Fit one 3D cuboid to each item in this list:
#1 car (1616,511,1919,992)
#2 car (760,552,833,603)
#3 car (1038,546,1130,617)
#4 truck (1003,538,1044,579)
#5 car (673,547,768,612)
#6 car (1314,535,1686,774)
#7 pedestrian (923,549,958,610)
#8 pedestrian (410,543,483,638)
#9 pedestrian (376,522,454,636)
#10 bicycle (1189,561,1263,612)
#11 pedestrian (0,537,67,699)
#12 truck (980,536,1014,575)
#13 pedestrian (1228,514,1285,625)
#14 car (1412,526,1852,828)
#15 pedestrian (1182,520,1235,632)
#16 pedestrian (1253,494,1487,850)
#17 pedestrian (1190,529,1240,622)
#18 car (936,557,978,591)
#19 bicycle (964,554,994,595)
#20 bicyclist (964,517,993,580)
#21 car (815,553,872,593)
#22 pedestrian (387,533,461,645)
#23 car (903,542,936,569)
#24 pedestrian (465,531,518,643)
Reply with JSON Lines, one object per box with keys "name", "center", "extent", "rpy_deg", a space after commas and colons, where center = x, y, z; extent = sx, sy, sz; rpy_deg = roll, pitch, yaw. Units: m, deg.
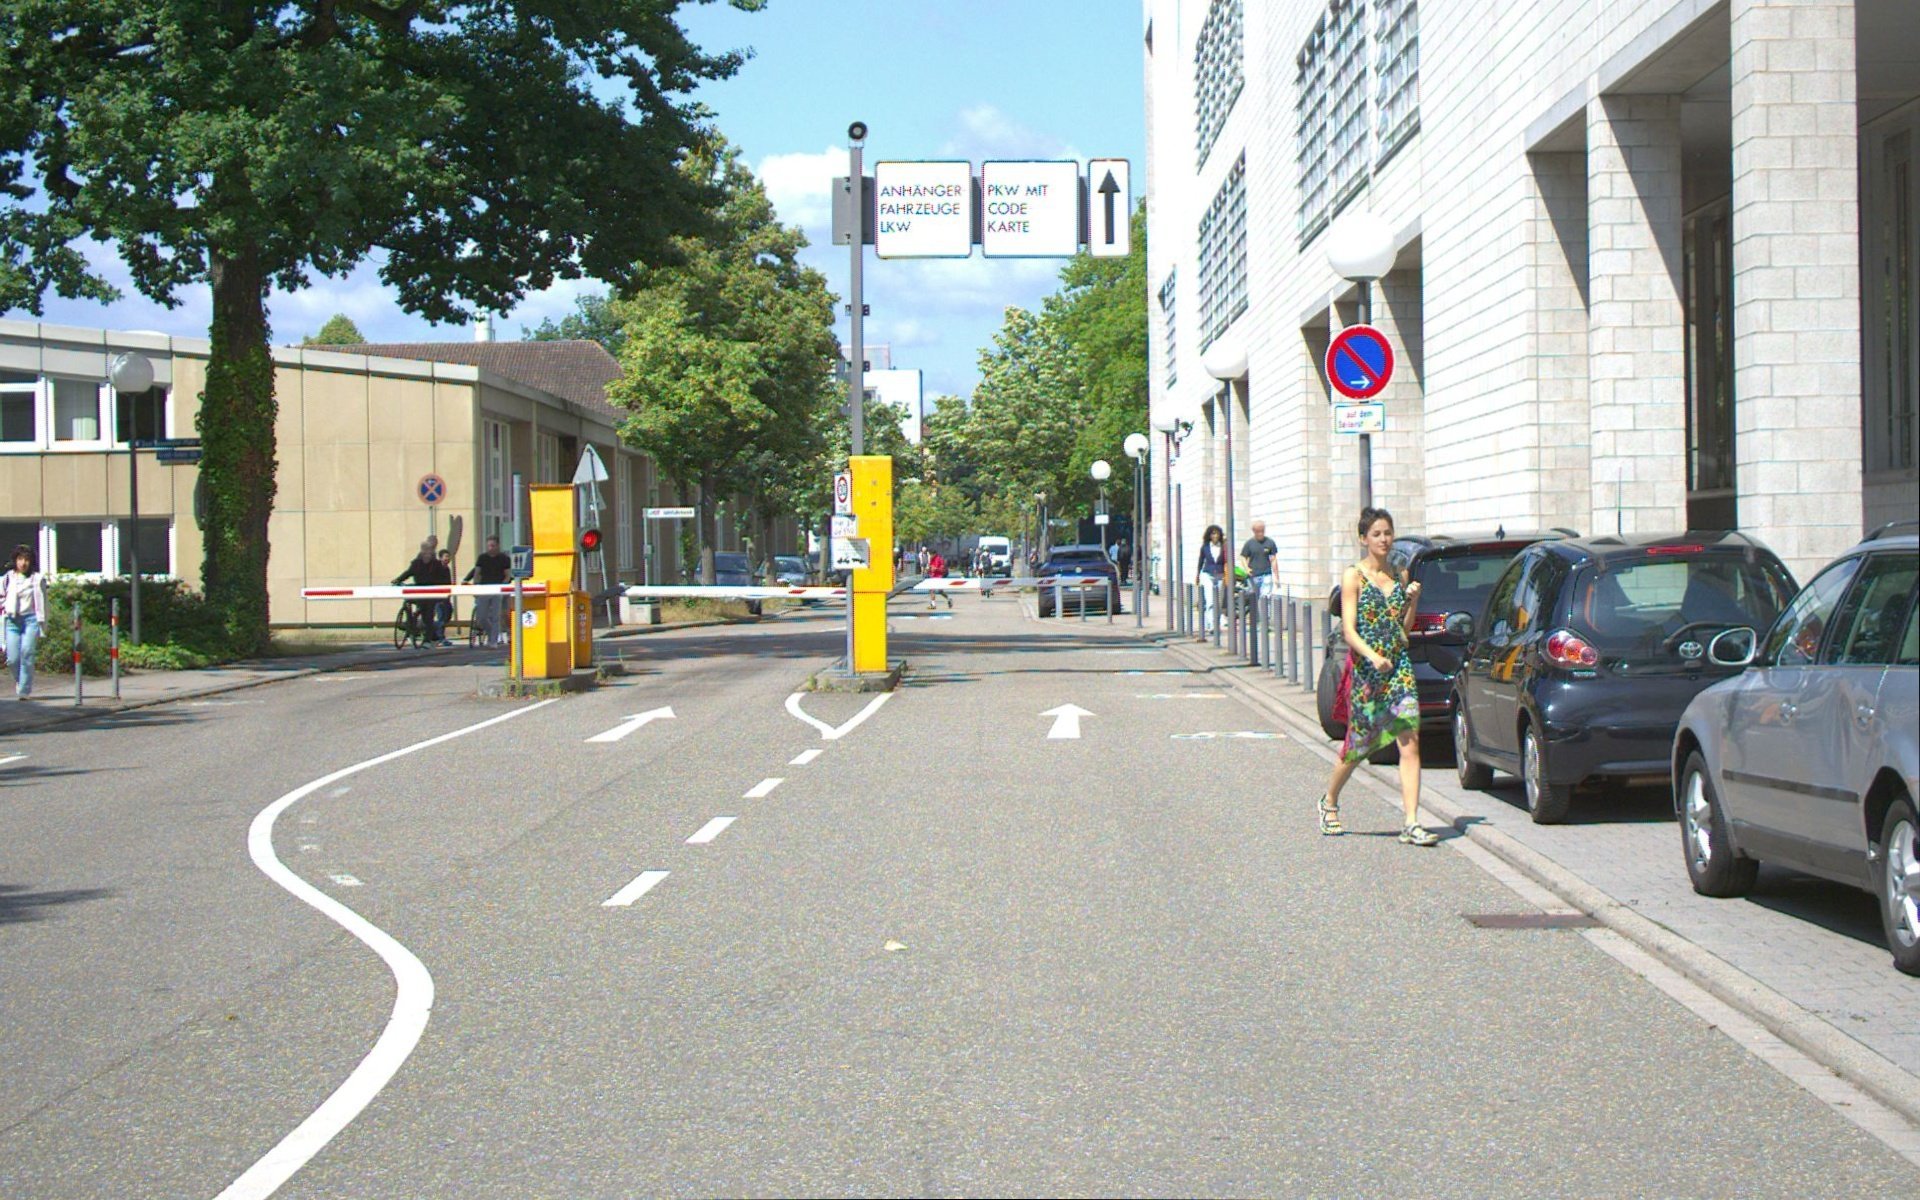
{"name": "car", "center": [3.807, 0.425, 12.569], "extent": [1.719, 1.524, 4.567], "rpy_deg": [-2, 1, -2]}
{"name": "car", "center": [-5.088, -0.710, 107.313], "extent": [1.993, 1.540, 4.212], "rpy_deg": [0, 1, 1]}
{"name": "car", "center": [2.783, -0.430, 77.885], "extent": [1.993, 1.540, 4.212], "rpy_deg": [-1, 1, 1]}
{"name": "truck", "center": [3.360, -2.203, 182.943], "extent": [1.993, 2.007, 4.000], "rpy_deg": [-1, -1, -1]}
{"name": "car", "center": [-5.918, -0.526, 85.374], "extent": [1.993, 1.540, 4.212], "rpy_deg": [0, 1, 1]}
{"name": "car", "center": [3.572, 0.306, 23.541], "extent": [1.866, 1.459, 4.520], "rpy_deg": [-1, 1, 1]}
{"name": "pedestrian", "center": [-0.527, -0.545, 91.856], "extent": [0.894, 1.627, 0.887], "rpy_deg": [0, 0, -2]}
{"name": "pedestrian", "center": [-8.862, -0.167, 59.310], "extent": [0.886, 1.627, 0.895], "rpy_deg": [0, 0, 28]}
{"name": "pedestrian", "center": [-9.247, -0.355, 58.368], "extent": [0.886, 1.919, 1.004], "rpy_deg": [0, 0, 28]}
{"name": "bicycle", "center": [5.795, -0.301, 74.833], "extent": [1.544, 1.063, 0.647], "rpy_deg": [-1, 1, 9]}
{"name": "pedestrian", "center": [-9.545, 0.180, 34.908], "extent": [0.713, 1.621, 0.883], "rpy_deg": [-1, 1, -1]}
{"name": "truck", "center": [2.294, -2.745, 213.205], "extent": [1.993, 2.263, 4.616], "rpy_deg": [-1, -1, -1]}
{"name": "pedestrian", "center": [4.821, -0.501, 55.976], "extent": [0.767, 1.774, 0.910], "rpy_deg": [-2, 1, -1]}
{"name": "car", "center": [3.618, 0.357, 19.159], "extent": [1.614, 1.491, 4.006], "rpy_deg": [-1, 1, -1]}
{"name": "pedestrian", "center": [4.034, -0.398, 55.858], "extent": [0.694, 1.774, 1.086], "rpy_deg": [-2, 1, -1]}
{"name": "pedestrian", "center": [2.037, 0.342, 17.168], "extent": [0.623, 1.711, 1.040], "rpy_deg": [-1, 1, -31]}
{"name": "pedestrian", "center": [4.554, -0.443, 61.421], "extent": [0.741, 1.627, 0.888], "rpy_deg": [-2, 1, -1]}
{"name": "car", "center": [-0.168, -1.407, 185.264], "extent": [1.994, 1.714, 3.999], "rpy_deg": [-1, -1, 3]}
{"name": "bicycle", "center": [0.658, -0.881, 118.798], "extent": [0.987, 1.311, 2.964], "rpy_deg": [-1, -1, 0]}
{"name": "bicyclist", "center": [0.637, -1.788, 118.877], "extent": [0.987, 2.125, 1.036], "rpy_deg": [-1, -1, 0]}
{"name": "car", "center": [-4.580, -1.071, 135.445], "extent": [1.993, 1.540, 4.212], "rpy_deg": [0, 1, 1]}
{"name": "pedestrian", "center": [-8.776, -0.183, 56.359], "extent": [1.056, 1.809, 0.806], "rpy_deg": [-1, 1, 0]}
{"name": "car", "center": [-2.793, -3.113, 239.932], "extent": [1.994, 1.714, 3.999], "rpy_deg": [-1, -1, 3]}
{"name": "pedestrian", "center": [-7.643, -0.216, 56.103], "extent": [0.705, 1.803, 1.001], "rpy_deg": [-1, 1, 0]}
